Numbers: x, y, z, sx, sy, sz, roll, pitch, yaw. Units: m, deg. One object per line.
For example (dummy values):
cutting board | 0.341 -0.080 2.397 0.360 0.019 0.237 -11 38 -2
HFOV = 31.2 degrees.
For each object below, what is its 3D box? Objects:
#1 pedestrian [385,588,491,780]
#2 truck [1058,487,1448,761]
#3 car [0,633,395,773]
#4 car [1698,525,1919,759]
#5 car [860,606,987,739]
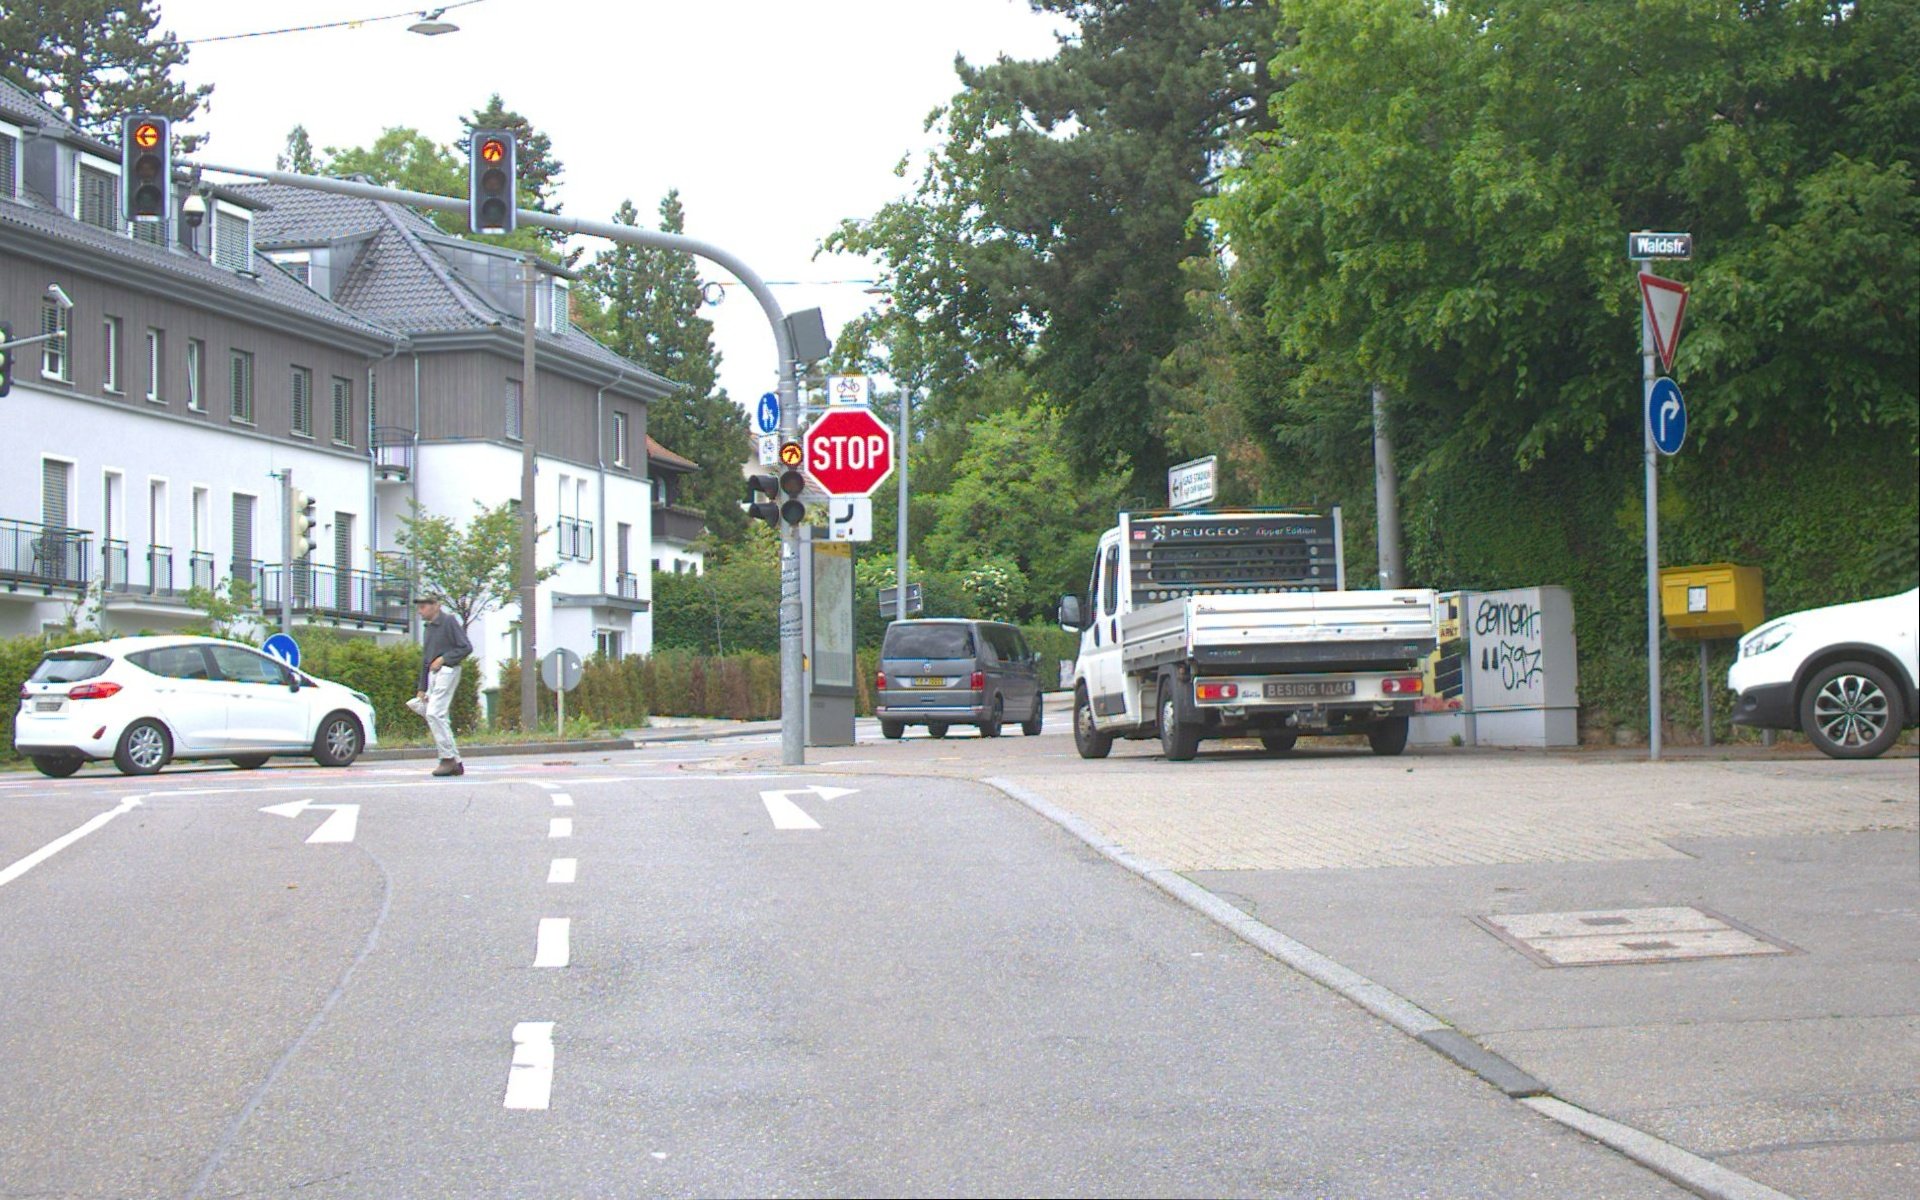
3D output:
pedestrian | -4.663 0.740 30.693 0.698 1.676 0.686 -1 1 -32
truck | 2.450 0.294 30.619 2.183 2.188 5.882 0 -2 -8
car | -8.215 1.063 36.651 1.935 1.378 3.990 -1 -1 41
car | 7.443 0.306 24.234 4.243 1.588 1.986 -1 -3 16
car | -0.604 1.146 56.552 1.993 2.007 4.510 -1 1 -1
